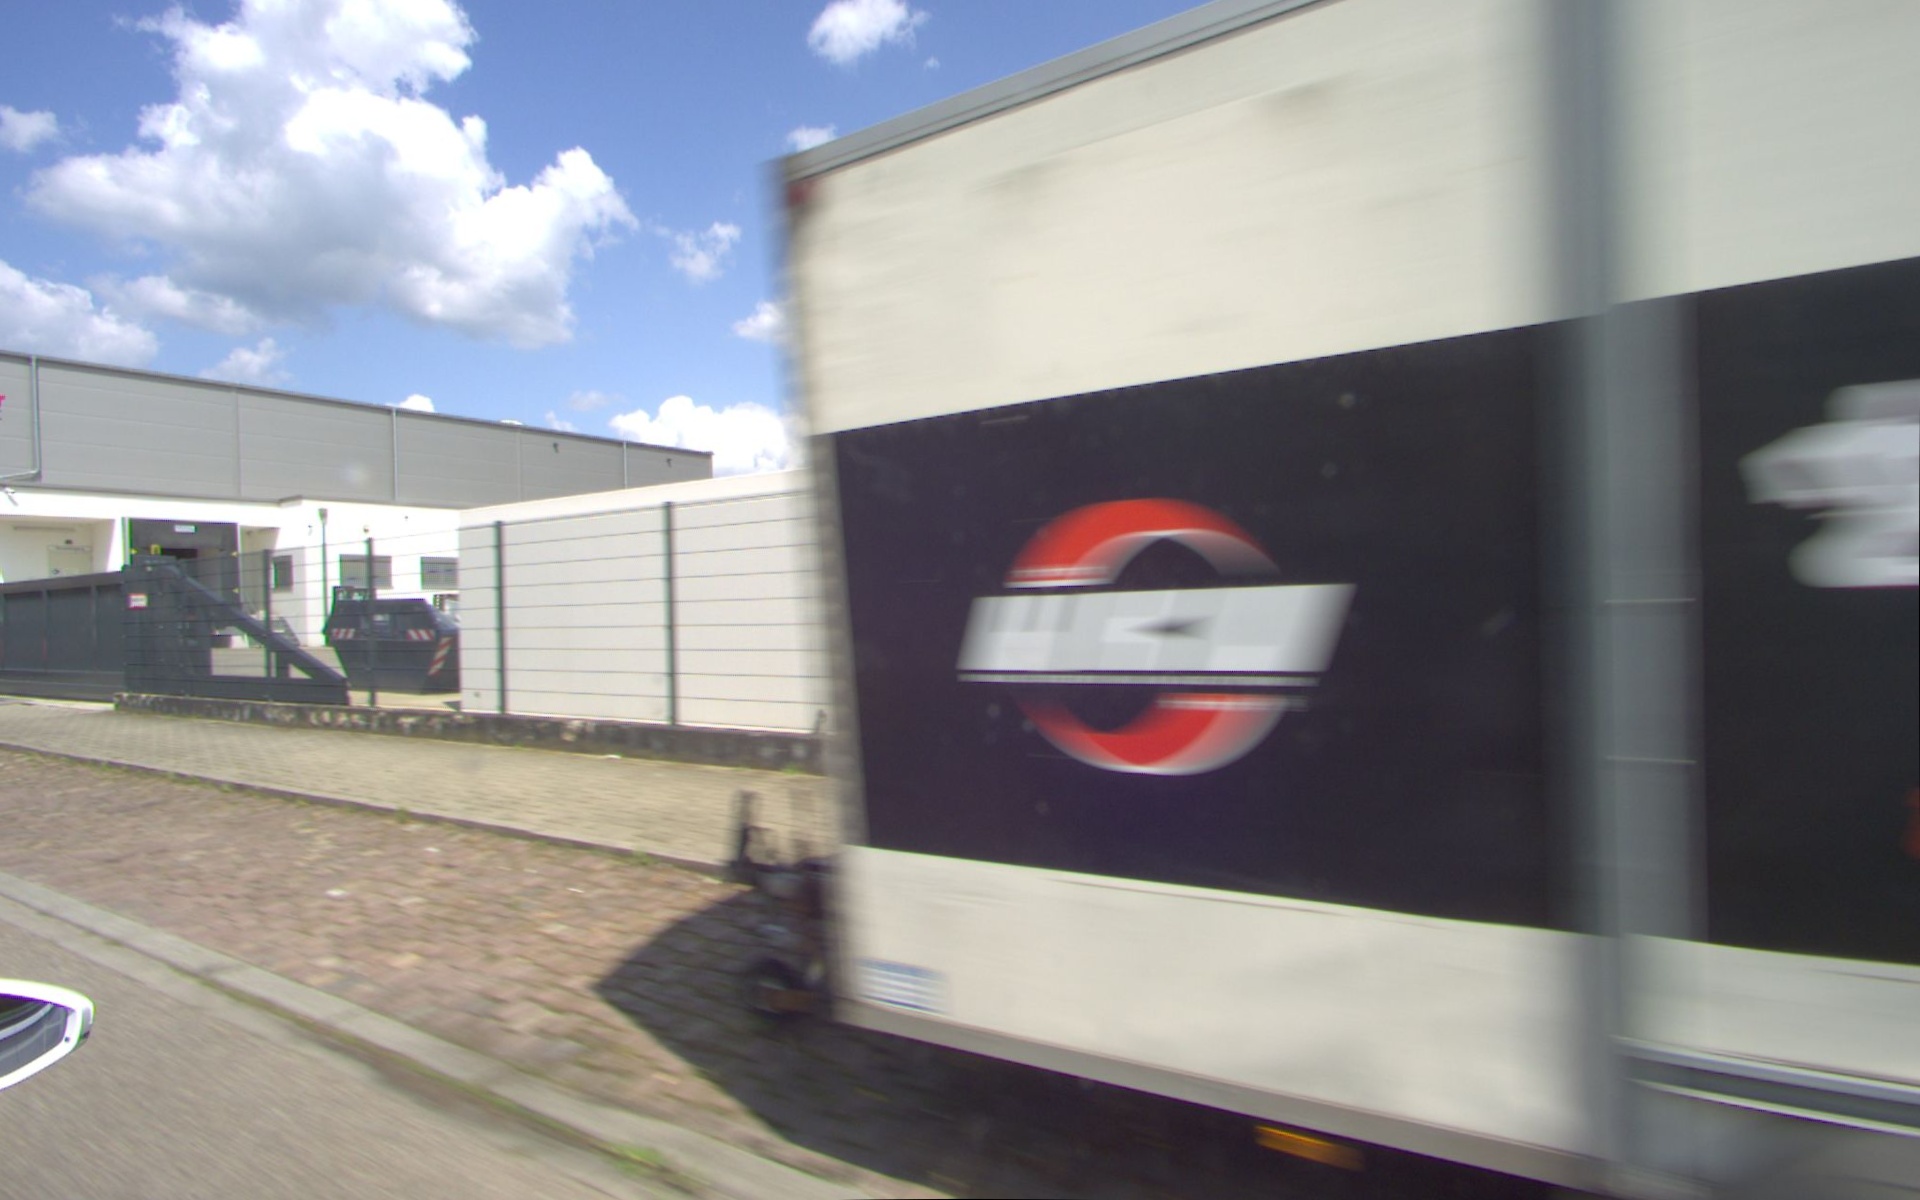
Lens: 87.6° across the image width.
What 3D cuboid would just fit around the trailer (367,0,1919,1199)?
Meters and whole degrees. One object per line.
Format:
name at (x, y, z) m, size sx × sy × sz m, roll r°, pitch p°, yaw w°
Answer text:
trailer at (1.470, 0.079, 2.345) m, size 6.133 × 2.775 × 2.198 m, roll -2°, pitch 3°, yaw 32°

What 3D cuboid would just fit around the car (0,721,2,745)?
car at (-13.816, 0.949, 12.236) m, size 4.613 × 1.717 × 1.930 m, roll -1°, pitch 3°, yaw 33°
